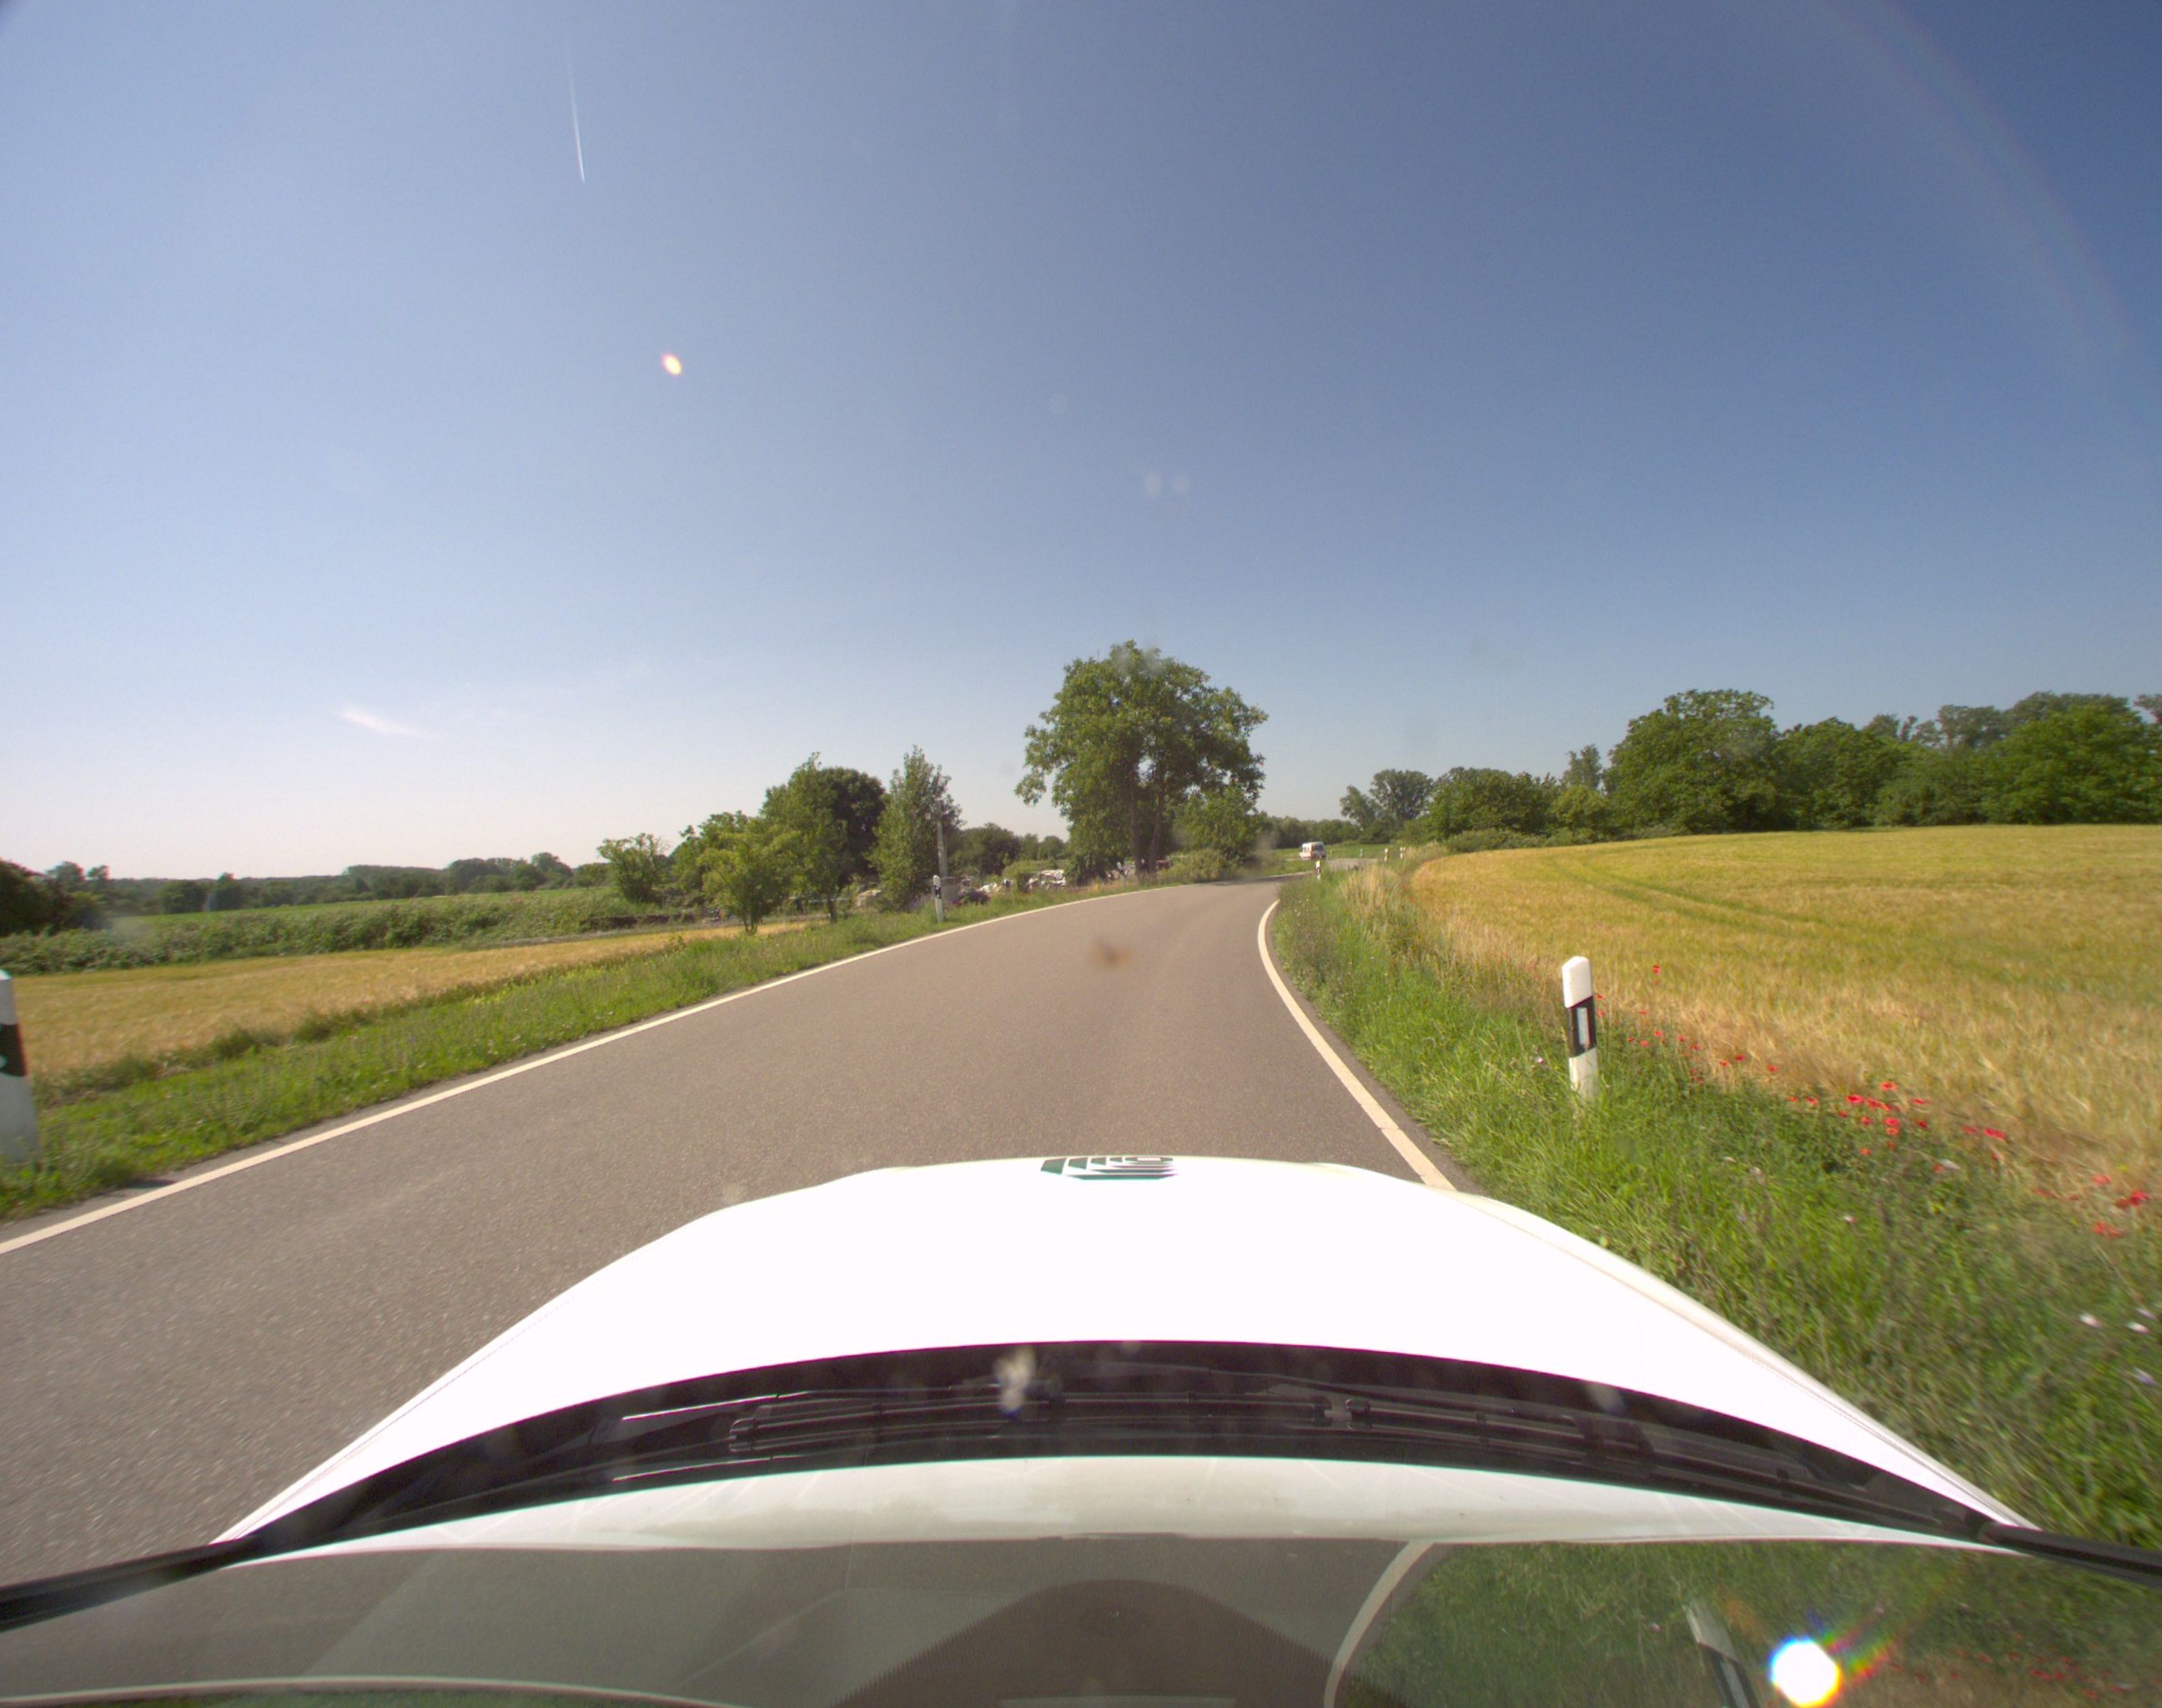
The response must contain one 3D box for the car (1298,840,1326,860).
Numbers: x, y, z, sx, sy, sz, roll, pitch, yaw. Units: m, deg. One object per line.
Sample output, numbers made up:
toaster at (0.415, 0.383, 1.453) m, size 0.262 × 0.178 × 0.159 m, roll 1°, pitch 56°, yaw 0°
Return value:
car at (30.800, -0.531, 108.690) m, size 2.097 × 2.367 × 5.686 m, roll -3°, pitch 0°, yaw 0°
